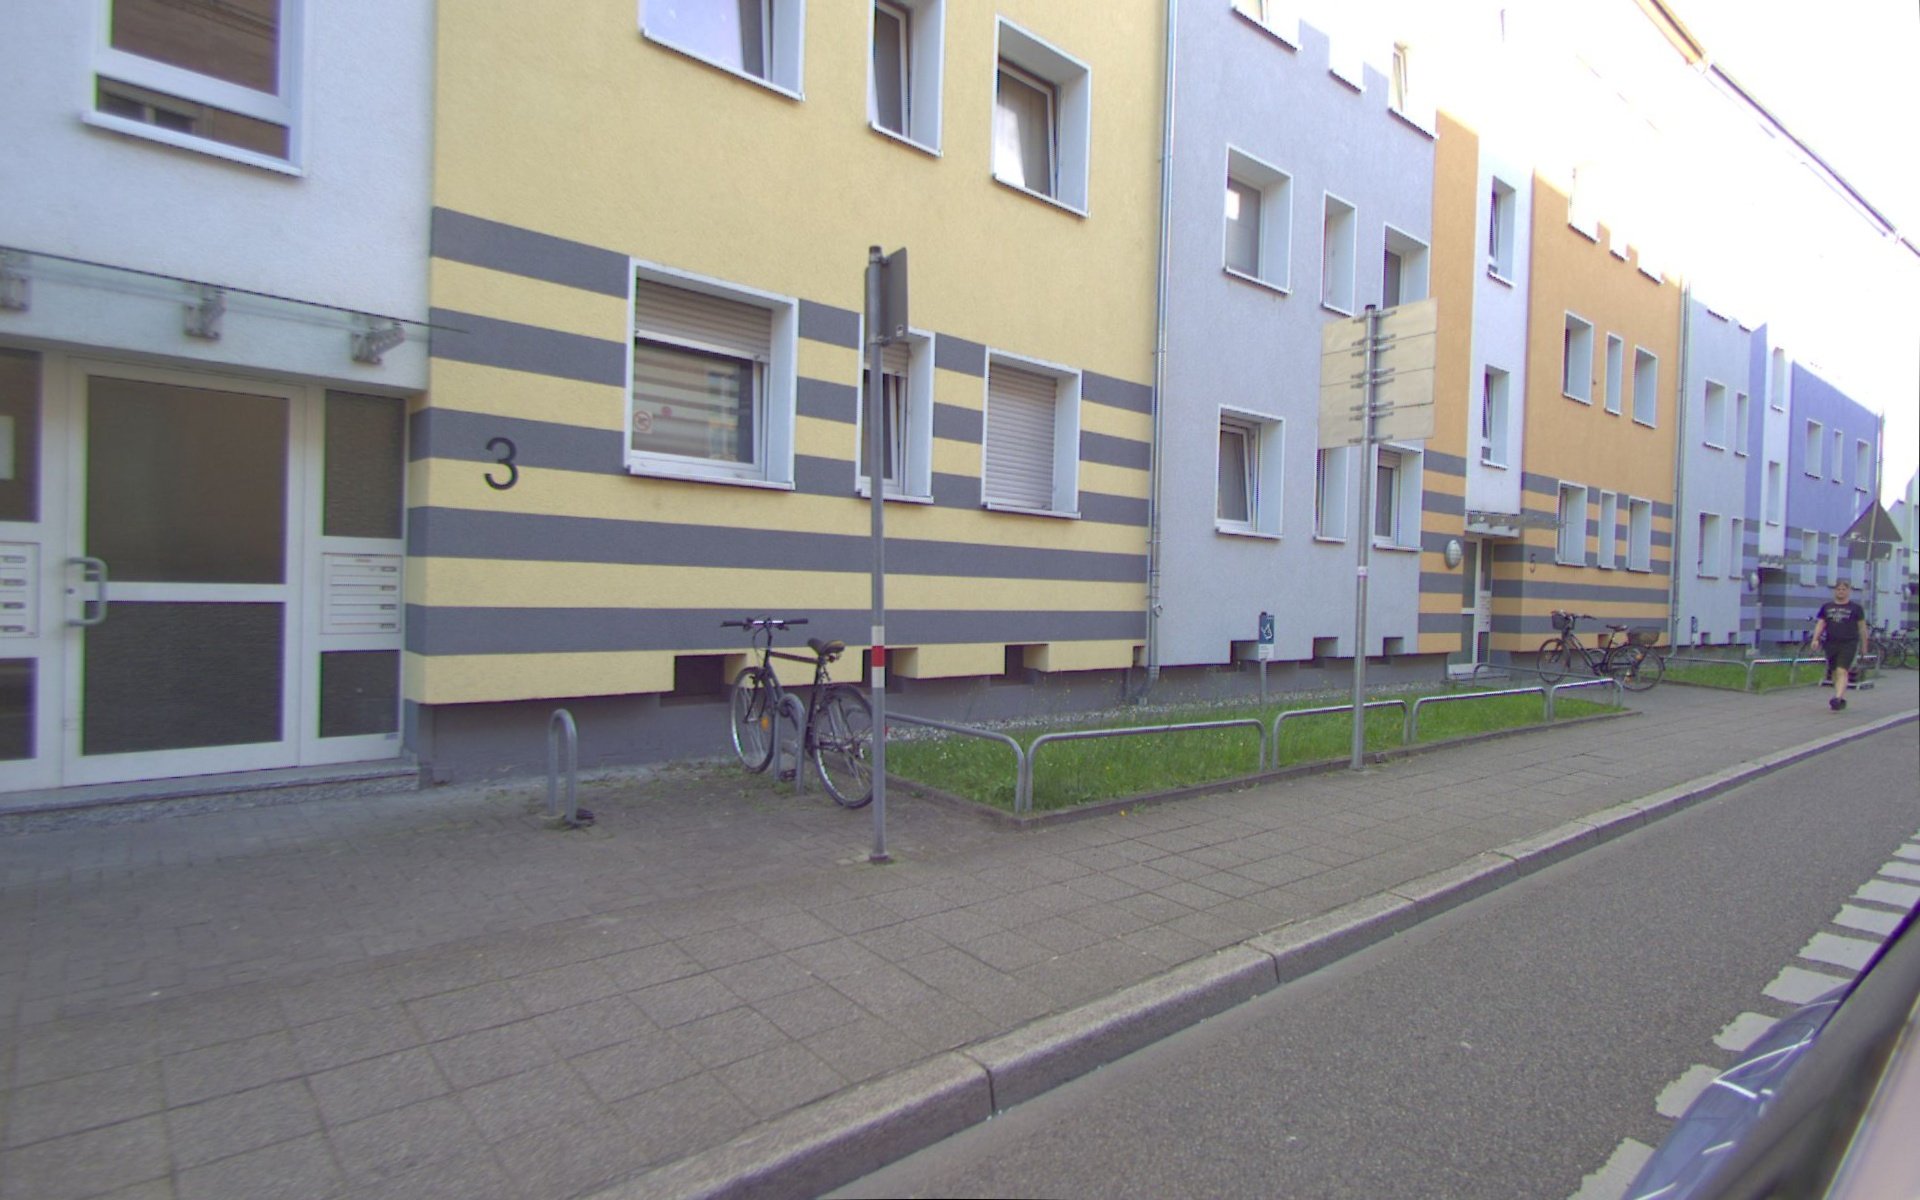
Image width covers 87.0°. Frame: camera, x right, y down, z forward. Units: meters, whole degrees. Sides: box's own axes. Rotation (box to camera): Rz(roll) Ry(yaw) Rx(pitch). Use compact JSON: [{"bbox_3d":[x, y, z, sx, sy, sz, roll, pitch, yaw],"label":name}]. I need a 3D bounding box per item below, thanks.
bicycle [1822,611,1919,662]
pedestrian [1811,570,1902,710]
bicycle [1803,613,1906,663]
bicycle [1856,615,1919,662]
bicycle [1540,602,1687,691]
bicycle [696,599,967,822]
[{"bbox_3d":[22.235,0.867,24.692,0.625,1.095,1.710,1,2,-40],"label":"bicycle"},{"bbox_3d":[12.258,0.524,13.833,0.899,1.810,0.646,1,4,-38],"label":"pedestrian"},{"bbox_3d":[21.239,0.885,24.062,0.625,1.058,1.711,1,2,-39],"label":"bicycle"},{"bbox_3d":[23.122,0.946,24.746,0.625,1.048,1.709,1,2,-43],"label":"bicycle"},{"bbox_3d":[9.765,0.664,15.172,0.625,1.173,1.709,1,2,-43],"label":"bicycle"},{"bbox_3d":[-0.864,0.585,6.272,0.625,1.074,1.946,1,2,-43],"label":"bicycle"}]
